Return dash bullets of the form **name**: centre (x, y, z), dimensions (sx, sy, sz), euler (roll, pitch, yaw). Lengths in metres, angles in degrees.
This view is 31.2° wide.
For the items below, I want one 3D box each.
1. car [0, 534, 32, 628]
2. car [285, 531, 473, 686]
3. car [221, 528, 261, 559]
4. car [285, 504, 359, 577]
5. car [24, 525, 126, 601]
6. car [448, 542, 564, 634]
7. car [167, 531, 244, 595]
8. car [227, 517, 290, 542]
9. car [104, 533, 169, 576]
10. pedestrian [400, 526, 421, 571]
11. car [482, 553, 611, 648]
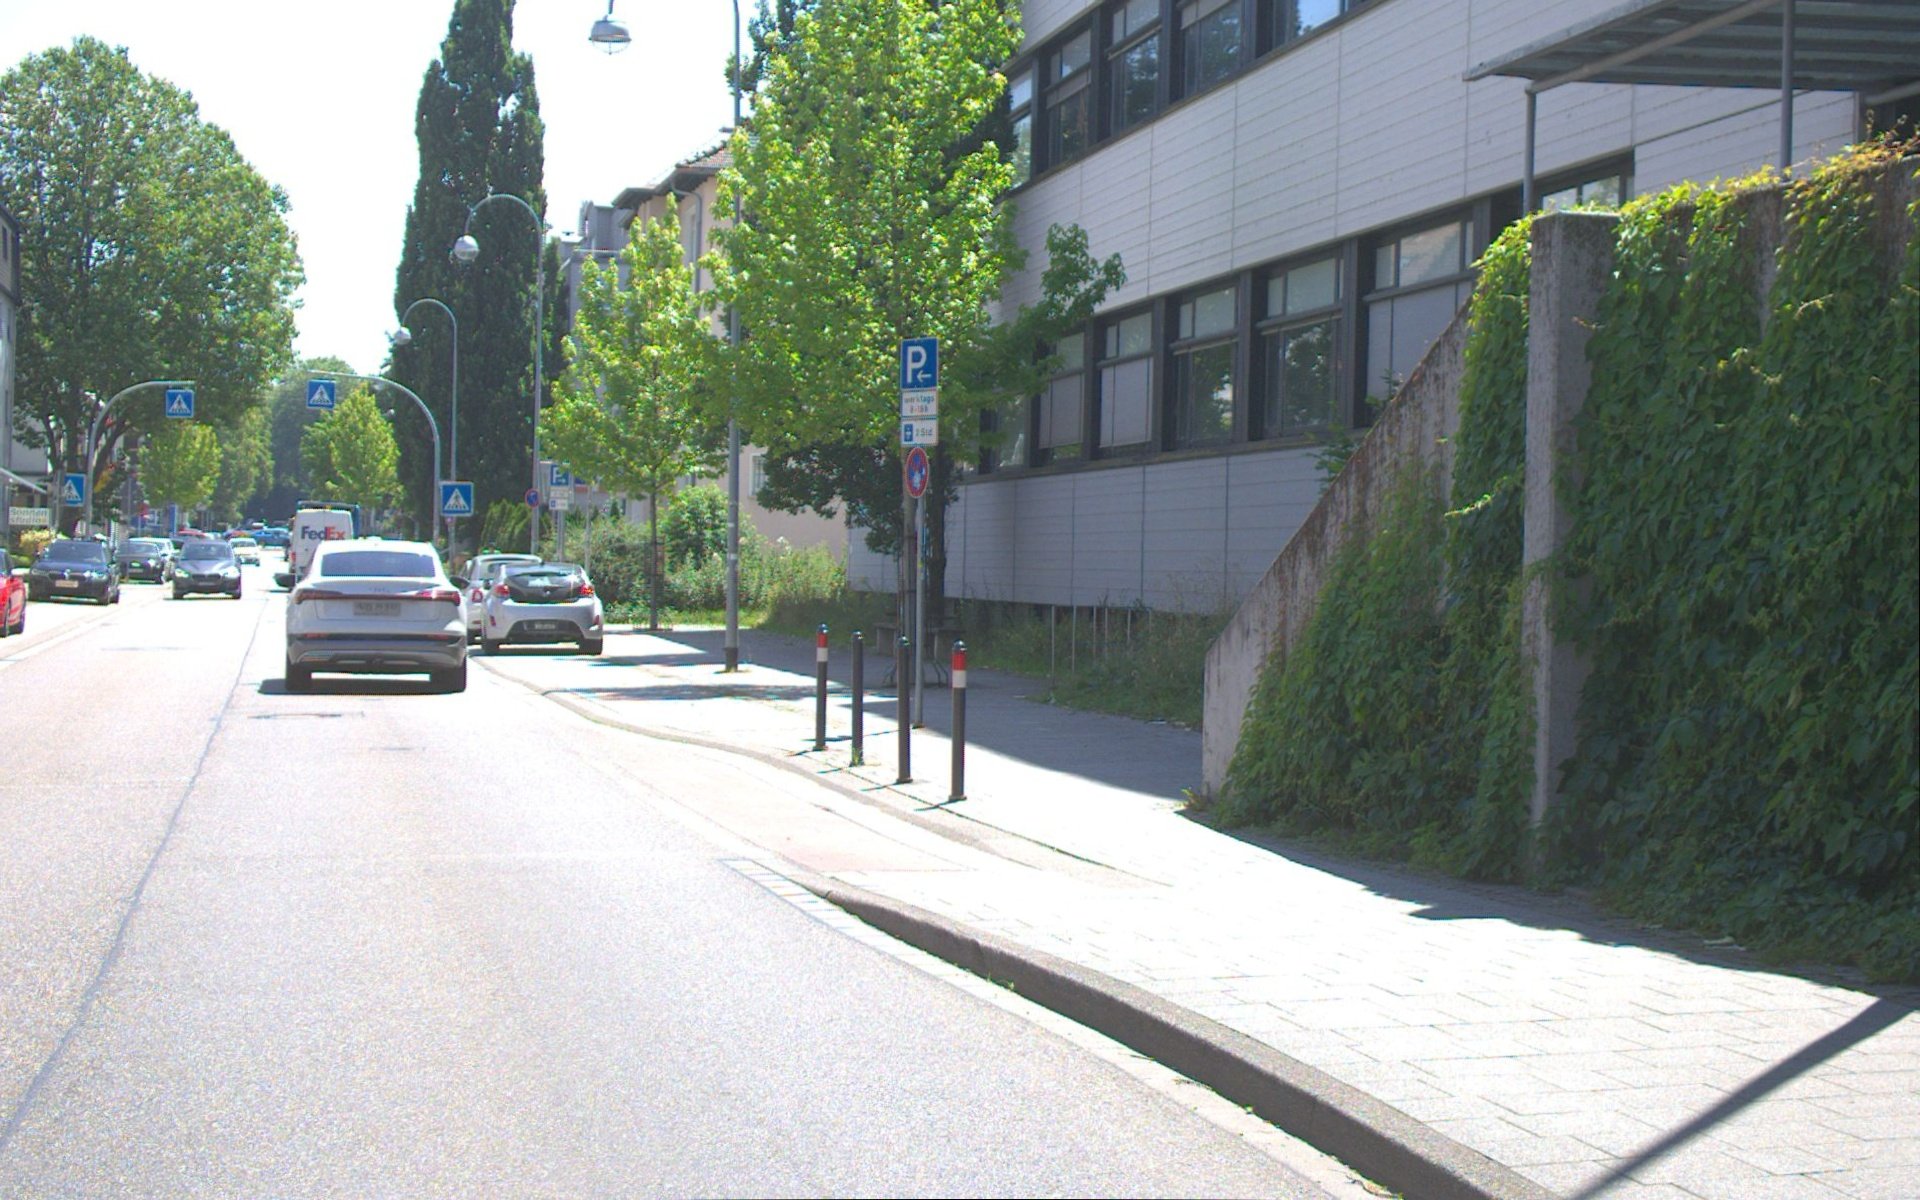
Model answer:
- **car**: centre (-15.878, -0.365, 55.106), dimensions (1.649, 1.414, 3.907), euler (4, 1, -12)
- **car**: centre (-6.493, 0.037, 38.242), dimensions (1.935, 1.609, 4.473), euler (0, 1, -10)
- **car**: centre (-37.162, -2.935, 177.706), dimensions (1.978, 1.515, 4.001), euler (1, 1, -12)
- **car**: centre (-19.894, -1.865, 107.119), dimensions (2.069, 2.189, 5.140), euler (-1, 1, -12)
- **car**: centre (-20.990, -0.896, 81.655), dimensions (1.925, 1.714, 4.473), euler (1, 1, -9)
- **car**: centre (-7.858, -0.239, 59.201), dimensions (1.658, 1.483, 4.347), euler (-1, 1, -12)
- **car**: centre (-20.345, -1.022, 92.732), dimensions (1.973, 1.665, 4.473), euler (1, 1, -12)
- **car**: centre (-48.442, -4.839, 237.514), dimensions (3.986, 1.645, 2.000), euler (1, 1, -4)
- **car**: centre (-27.470, -1.525, 114.776), dimensions (1.993, 1.345, 4.001), euler (1, 1, -12)
- **pedestrian**: centre (-21.512, -2.010, 134.610), dimensions (0.693, 1.730, 0.668), euler (1, 1, -15)
- **car**: centre (-6.465, -0.023, 53.437), dimensions (1.862, 1.368, 4.001), euler (1, 1, -9)
